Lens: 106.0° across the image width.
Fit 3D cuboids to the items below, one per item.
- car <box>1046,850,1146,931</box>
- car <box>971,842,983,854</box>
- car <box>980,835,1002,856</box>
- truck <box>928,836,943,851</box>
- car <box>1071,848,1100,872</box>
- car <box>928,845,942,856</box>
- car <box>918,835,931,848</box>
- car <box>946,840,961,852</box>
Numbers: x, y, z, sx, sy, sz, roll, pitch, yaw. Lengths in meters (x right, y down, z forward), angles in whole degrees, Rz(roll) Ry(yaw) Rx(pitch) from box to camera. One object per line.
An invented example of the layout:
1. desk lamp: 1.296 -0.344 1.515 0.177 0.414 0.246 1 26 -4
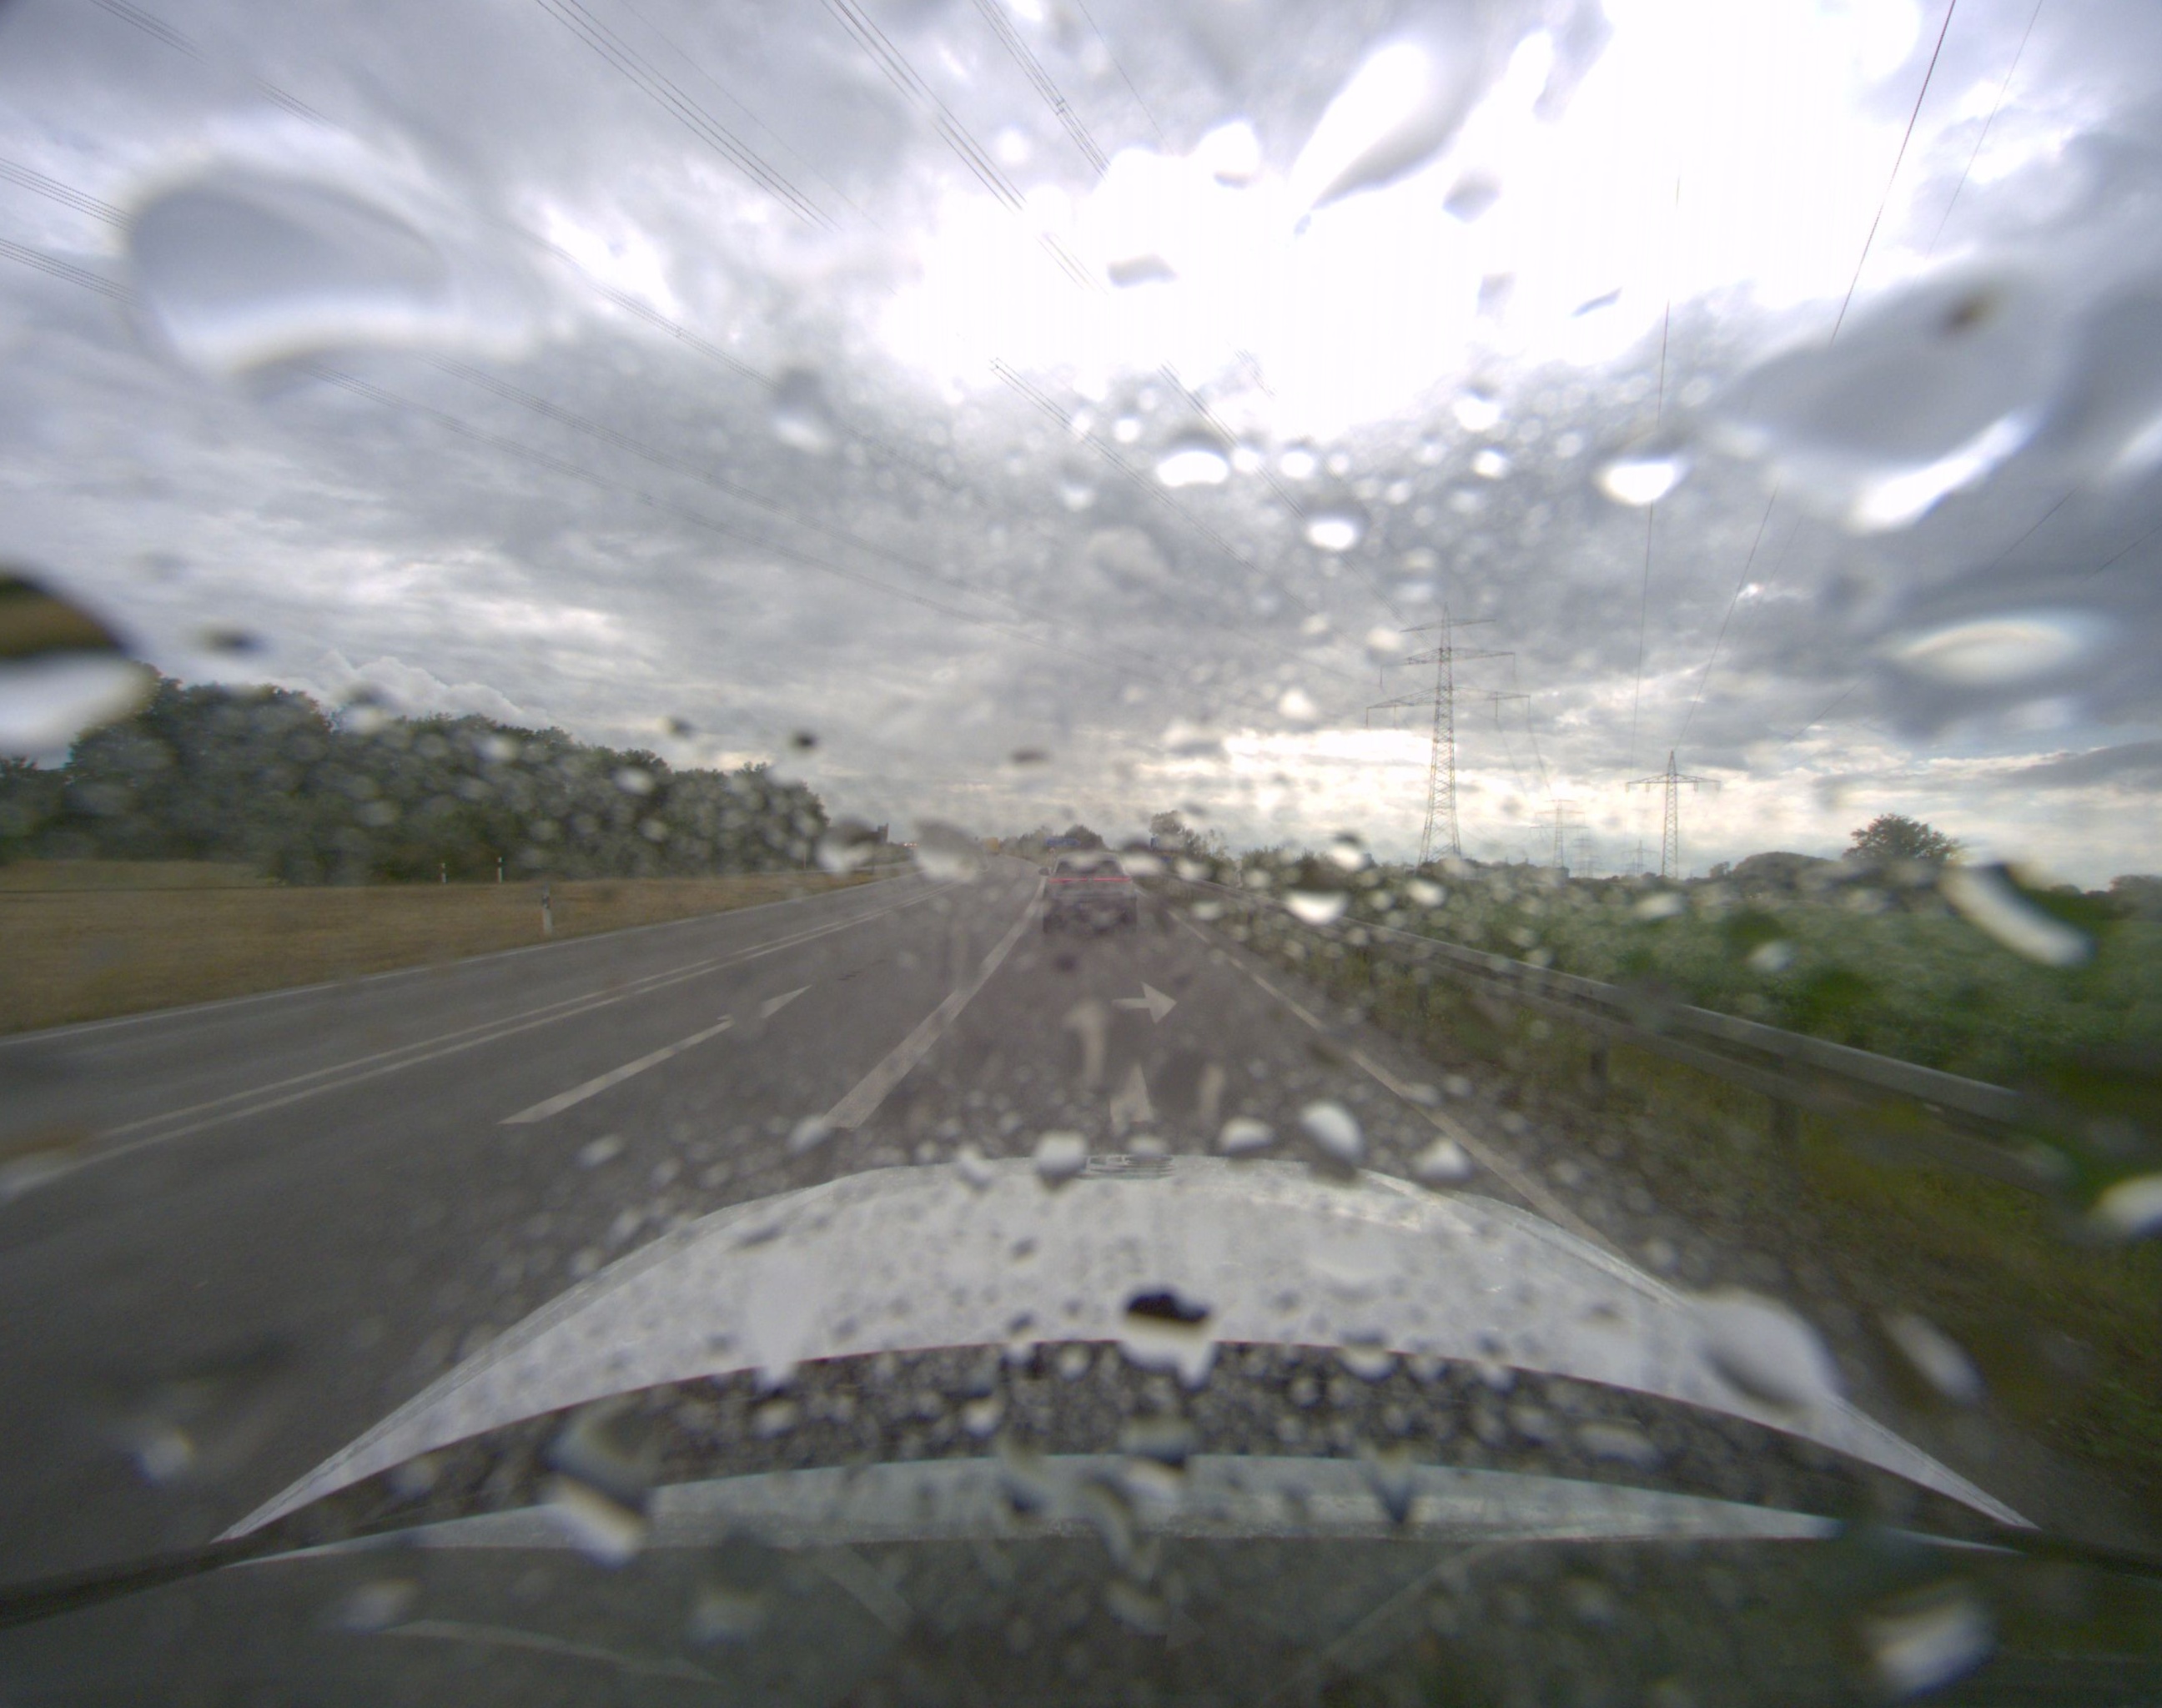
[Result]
1. car: 0.324 0.675 16.519 1.785 1.441 4.001 0 -1 1
2. car: -16.650 -0.935 130.732 1.789 1.688 3.991 0 -2 -6
3. car: -12.491 -1.130 112.297 2.573 2.725 7.171 -1 0 -10
4. truck: -35.560 -2.592 198.758 3.051 3.385 7.605 1 -2 -15
5. car: 0.291 0.390 54.167 1.786 1.441 3.999 3 -1 0
6. car: -19.233 -0.457 107.455 1.745 1.365 4.036 -1 1 -11
7. car: -32.569 -2.552 169.023 2.355 2.701 6.961 0 1 -14
8. car: -26.815 -1.681 171.316 2.606 2.251 5.506 1 -2 -15
